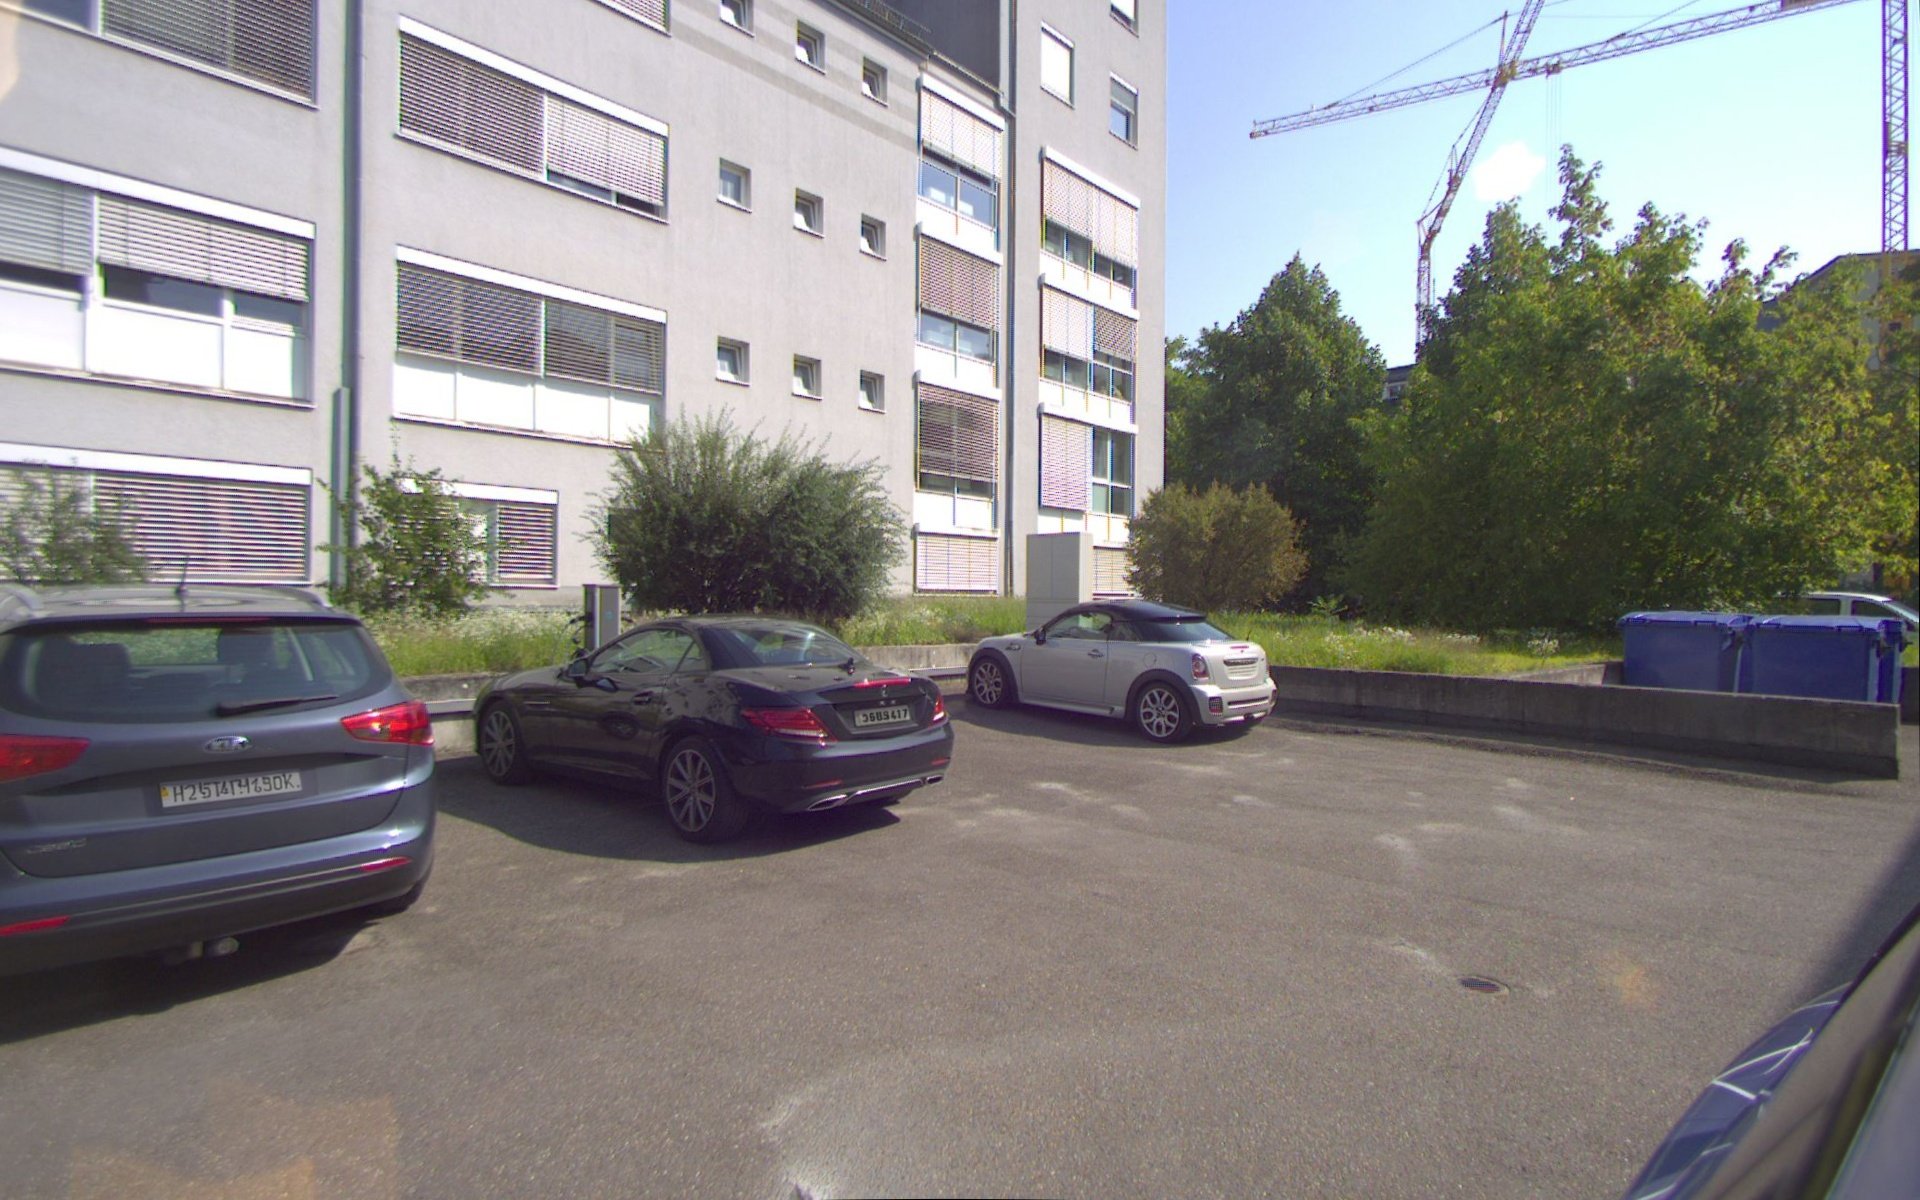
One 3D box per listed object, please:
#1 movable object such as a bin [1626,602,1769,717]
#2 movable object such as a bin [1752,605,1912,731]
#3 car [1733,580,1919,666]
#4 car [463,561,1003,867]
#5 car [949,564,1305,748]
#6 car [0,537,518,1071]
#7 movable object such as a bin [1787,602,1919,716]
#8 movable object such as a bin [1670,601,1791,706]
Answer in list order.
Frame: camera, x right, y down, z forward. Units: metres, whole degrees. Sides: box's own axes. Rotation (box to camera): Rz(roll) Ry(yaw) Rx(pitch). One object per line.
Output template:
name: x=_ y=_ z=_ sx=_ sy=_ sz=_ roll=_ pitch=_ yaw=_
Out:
movable object such as a bin: x=9.421 y=0.720 z=12.945 sx=1.096 sy=1.357 sz=1.238 roll=0 pitch=0 yaw=-38
movable object such as a bin: x=10.258 y=0.745 z=11.911 sx=1.174 sy=1.357 sz=1.302 roll=0 pitch=0 yaw=-42
car: x=21.865 y=0.500 z=24.267 sx=2.007 sy=1.945 sz=4.968 roll=-1 pitch=0 yaw=-39
car: x=-1.756 y=0.583 z=7.258 sx=3.793 sy=1.609 sz=1.870 roll=0 pitch=0 yaw=39
car: x=1.775 y=0.479 z=11.528 sx=1.772 sy=1.563 sz=3.625 roll=0 pitch=5 yaw=-43
car: x=-3.845 y=0.599 z=4.860 sx=3.862 sy=1.609 sz=1.850 roll=0 pitch=0 yaw=44
movable object such as a bin: x=11.561 y=0.709 z=13.036 sx=1.082 sy=1.357 sz=1.310 roll=0 pitch=0 yaw=-44
movable object such as a bin: x=10.696 y=0.702 z=14.051 sx=1.226 sy=1.357 sz=1.060 roll=0 pitch=0 yaw=44
